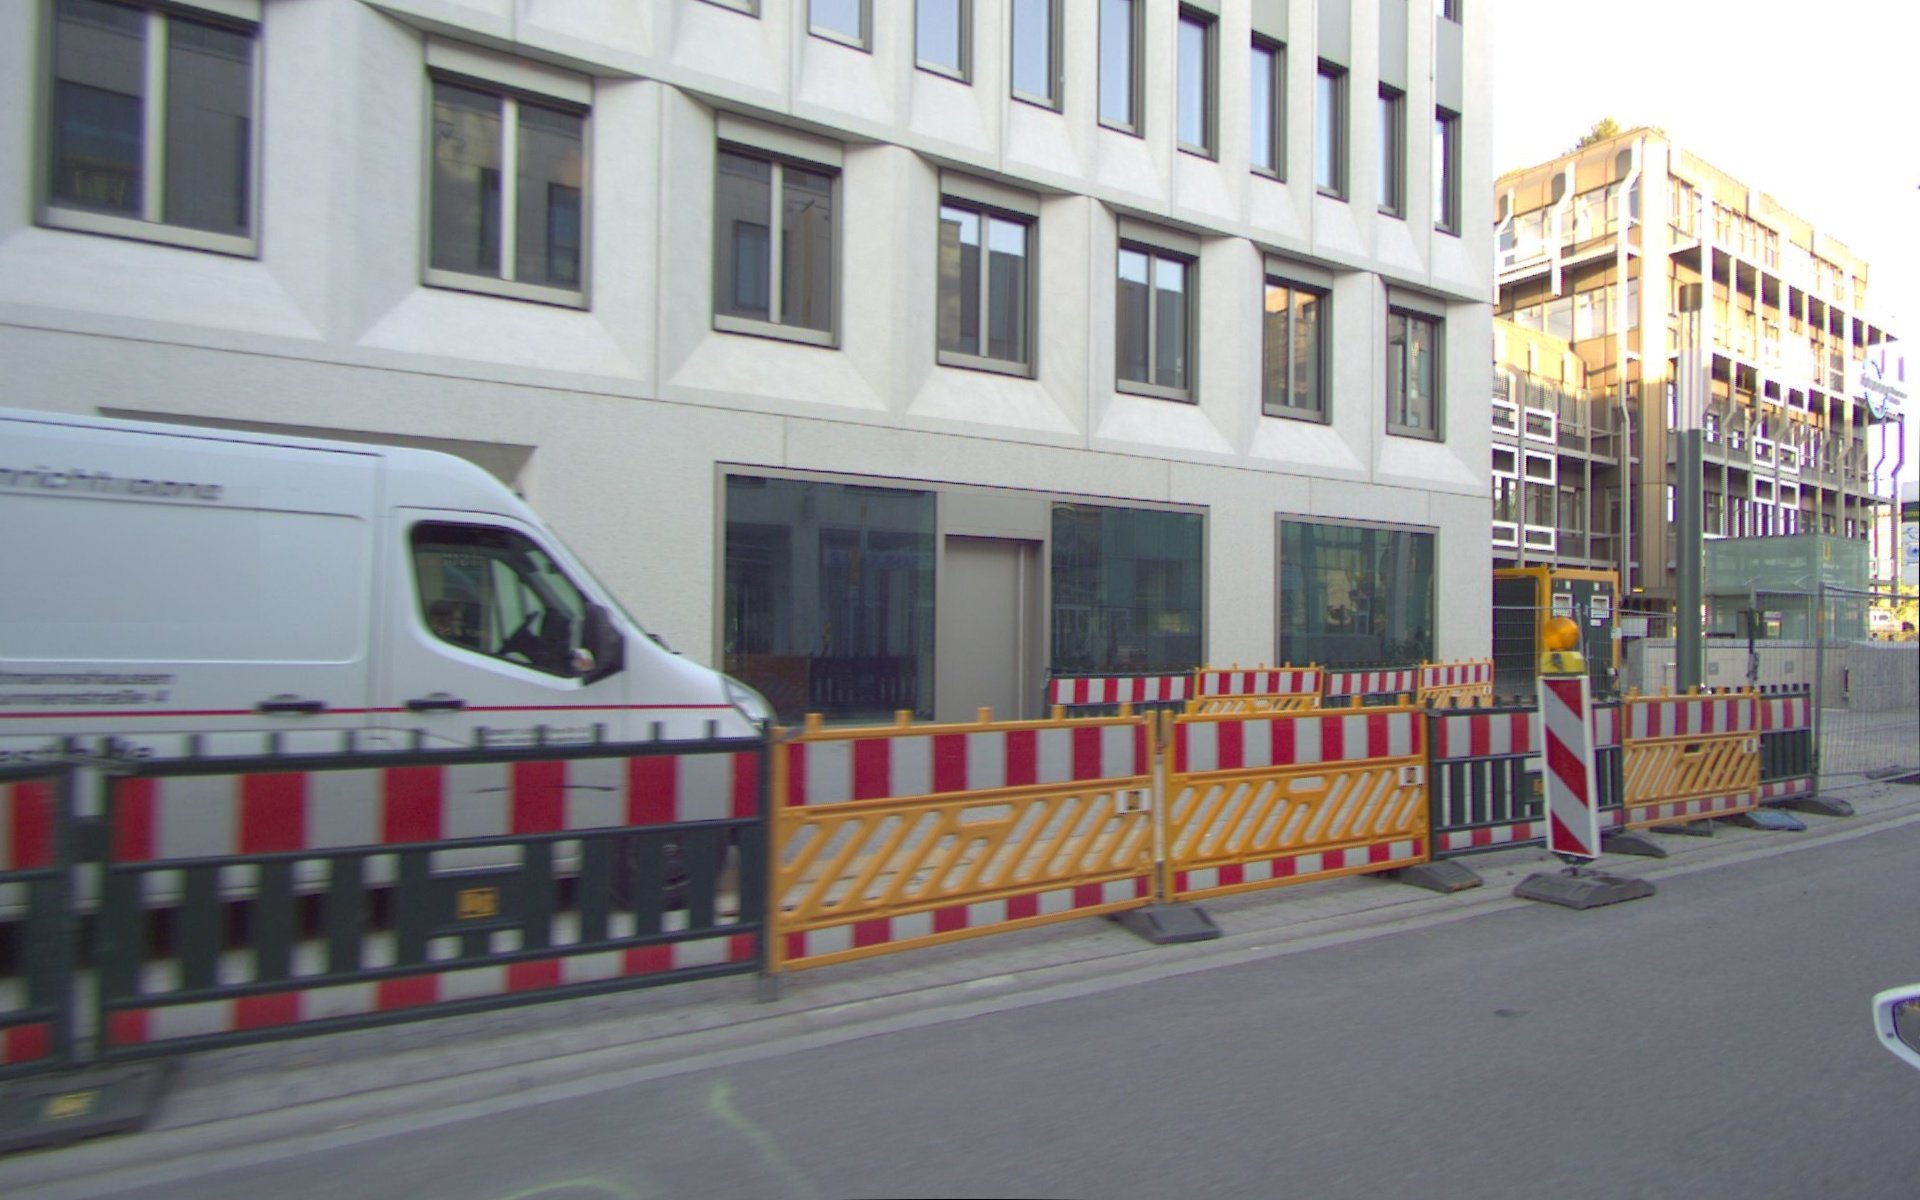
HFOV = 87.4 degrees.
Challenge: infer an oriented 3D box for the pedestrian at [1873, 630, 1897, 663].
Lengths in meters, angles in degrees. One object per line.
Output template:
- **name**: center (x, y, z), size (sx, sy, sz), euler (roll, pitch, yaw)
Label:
- **pedestrian**: center (51.921, 2.619, 56.402), size (0.728, 1.800, 0.862), euler (-3, -4, 31)

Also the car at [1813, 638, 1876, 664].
- **car**: center (60.501, 3.475, 68.714), size (1.600, 1.707, 3.103), euler (2, -2, -42)

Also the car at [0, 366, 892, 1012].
- **car**: center (-3.500, 0.381, 5.268), size (5.927, 2.503, 2.164), euler (2, -1, -30)

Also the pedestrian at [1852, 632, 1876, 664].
- **pedestrian**: center (51.282, 2.709, 56.999), size (0.727, 1.800, 0.863), euler (-2, -4, 25)
